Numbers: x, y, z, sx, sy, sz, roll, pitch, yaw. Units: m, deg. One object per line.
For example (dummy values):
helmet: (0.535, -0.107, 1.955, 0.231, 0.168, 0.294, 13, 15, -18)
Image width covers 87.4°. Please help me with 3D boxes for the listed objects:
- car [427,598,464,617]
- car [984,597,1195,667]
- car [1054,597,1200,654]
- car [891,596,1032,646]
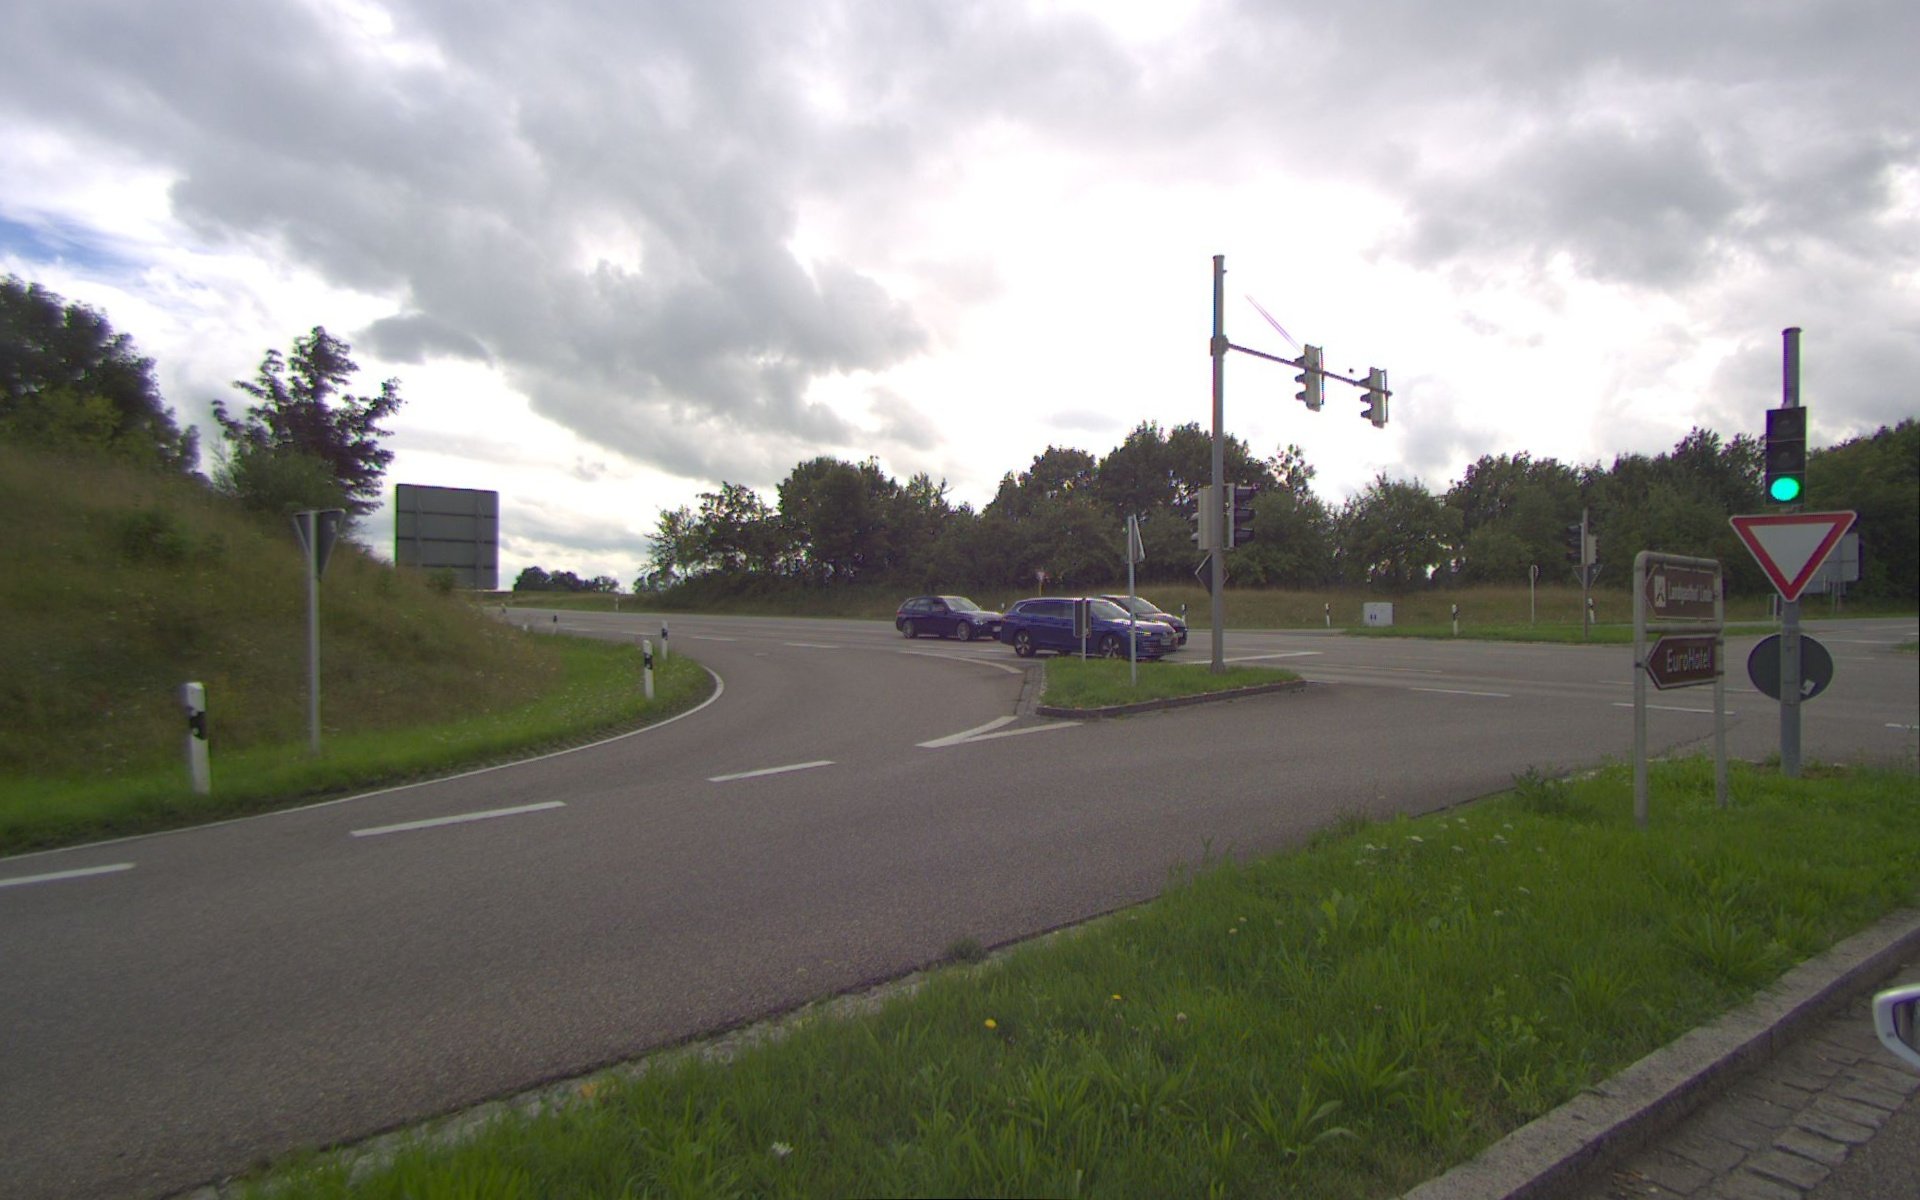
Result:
car: (-48.922, 0.717, 95.472, 3.943, 1.712, 1.839, 0, -1, 43)
car: (3.103, 0.705, 24.948, 2.038, 1.555, 5.059, 0, 1, -44)
car: (4.681, 0.673, 28.546, 1.718, 1.463, 3.895, -1, 1, -42)
car: (-0.015, 0.632, 33.851, 2.040, 1.504, 4.819, -2, 2, -43)
